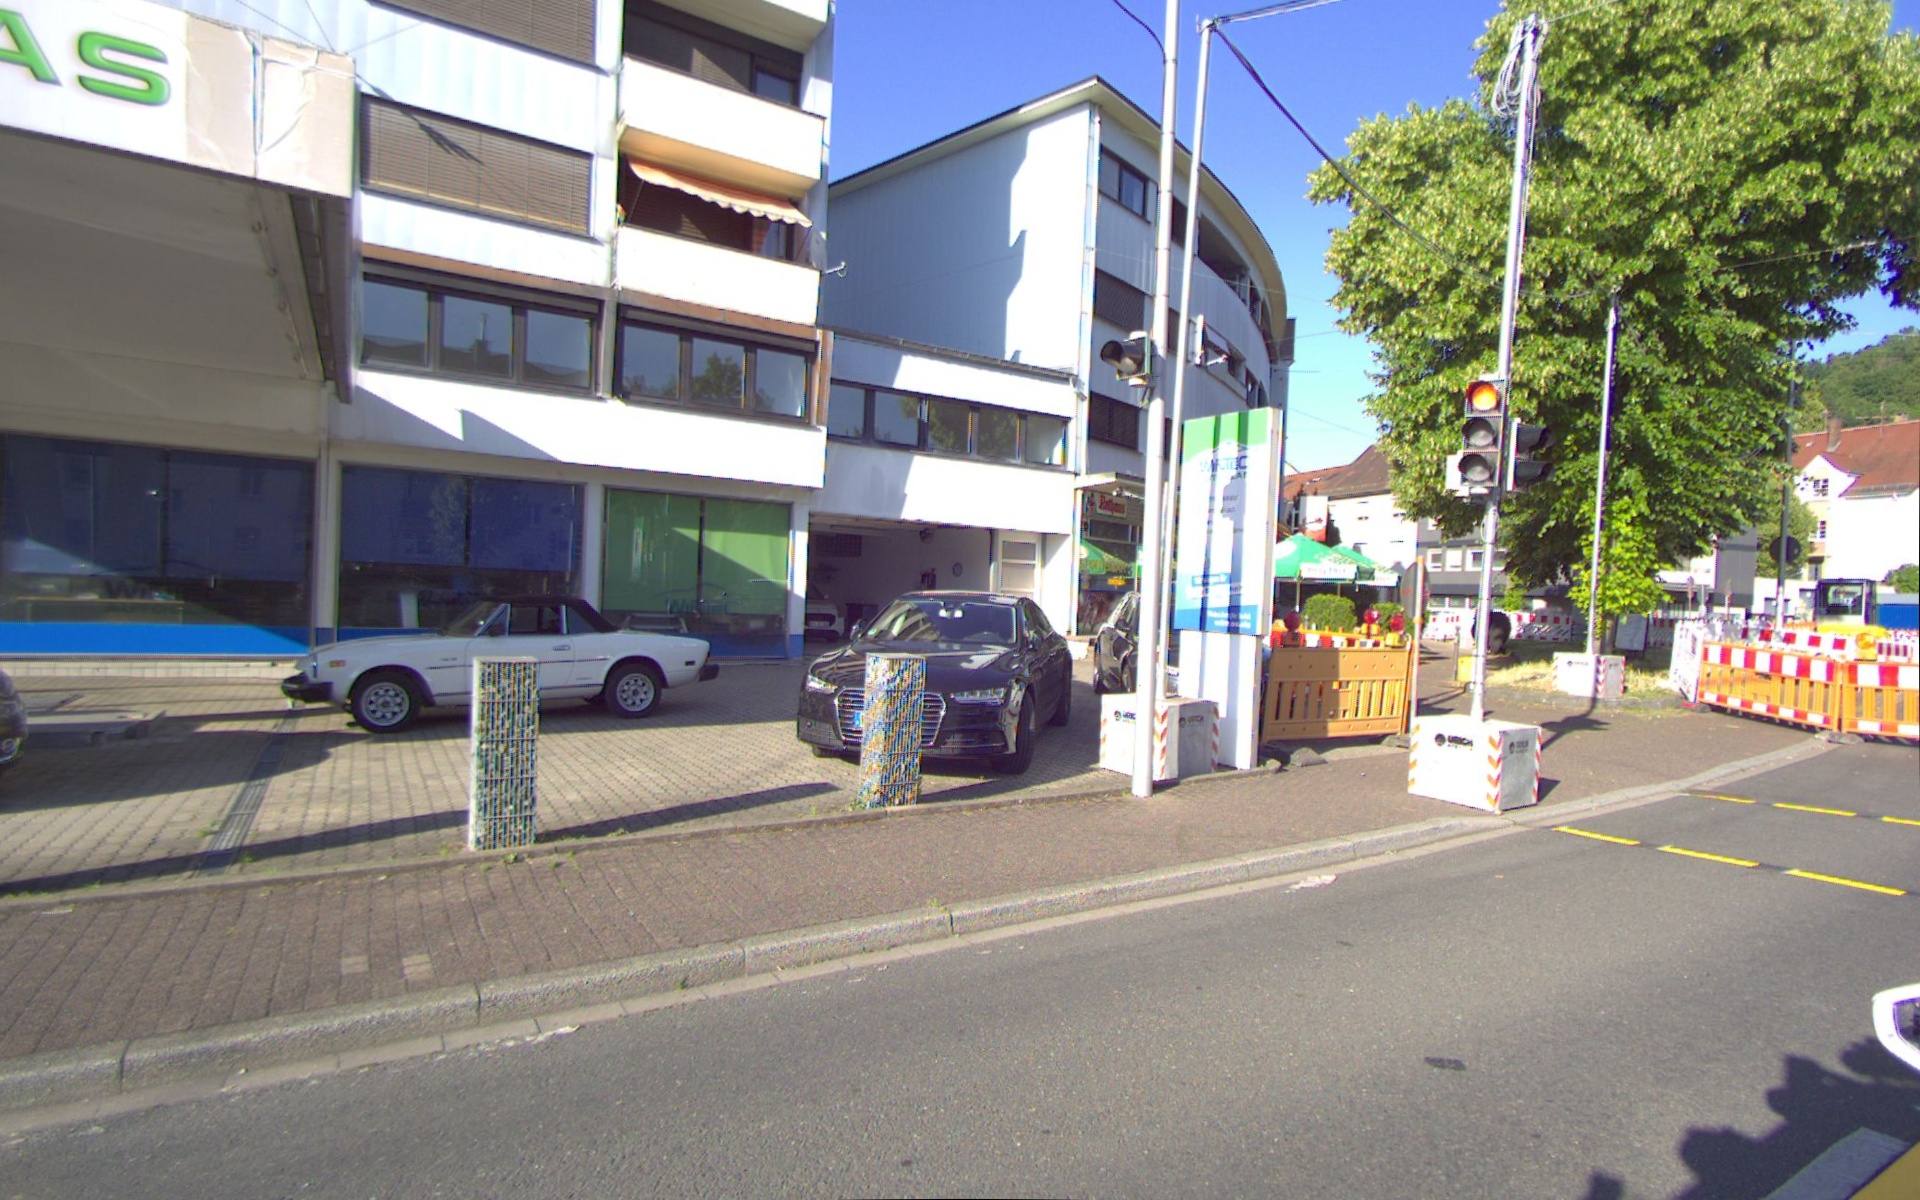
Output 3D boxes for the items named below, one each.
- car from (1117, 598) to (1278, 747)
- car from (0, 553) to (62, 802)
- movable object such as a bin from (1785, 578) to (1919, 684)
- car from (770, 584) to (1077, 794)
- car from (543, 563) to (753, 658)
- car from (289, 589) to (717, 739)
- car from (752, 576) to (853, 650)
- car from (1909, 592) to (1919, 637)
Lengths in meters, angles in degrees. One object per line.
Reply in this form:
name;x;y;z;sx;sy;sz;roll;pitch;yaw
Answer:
car;2.761;0.750;12.083;1.564;1.457;3.887;1;0;11
car;-7.479;0.412;5.862;3.305;1.506;1.543;2;0;8
movable object such as a bin;21.538;0.708;24.156;3.882;2.356;1.635;1;0;-36
car;-0.022;0.654;9.575;1.893;1.457;4.692;1;-1;11
car;-6.097;0.223;19.713;3.593;1.695;1.707;2;0;-34
car;-4.672;0.597;10.491;3.865;1.315;1.511;1;-1;-35
car;-3.890;0.259;24.384;1.550;1.629;3.734;2;1;-23
car;49.529;0.799;48.379;6.043;2.149;2.586;2;0;-12
